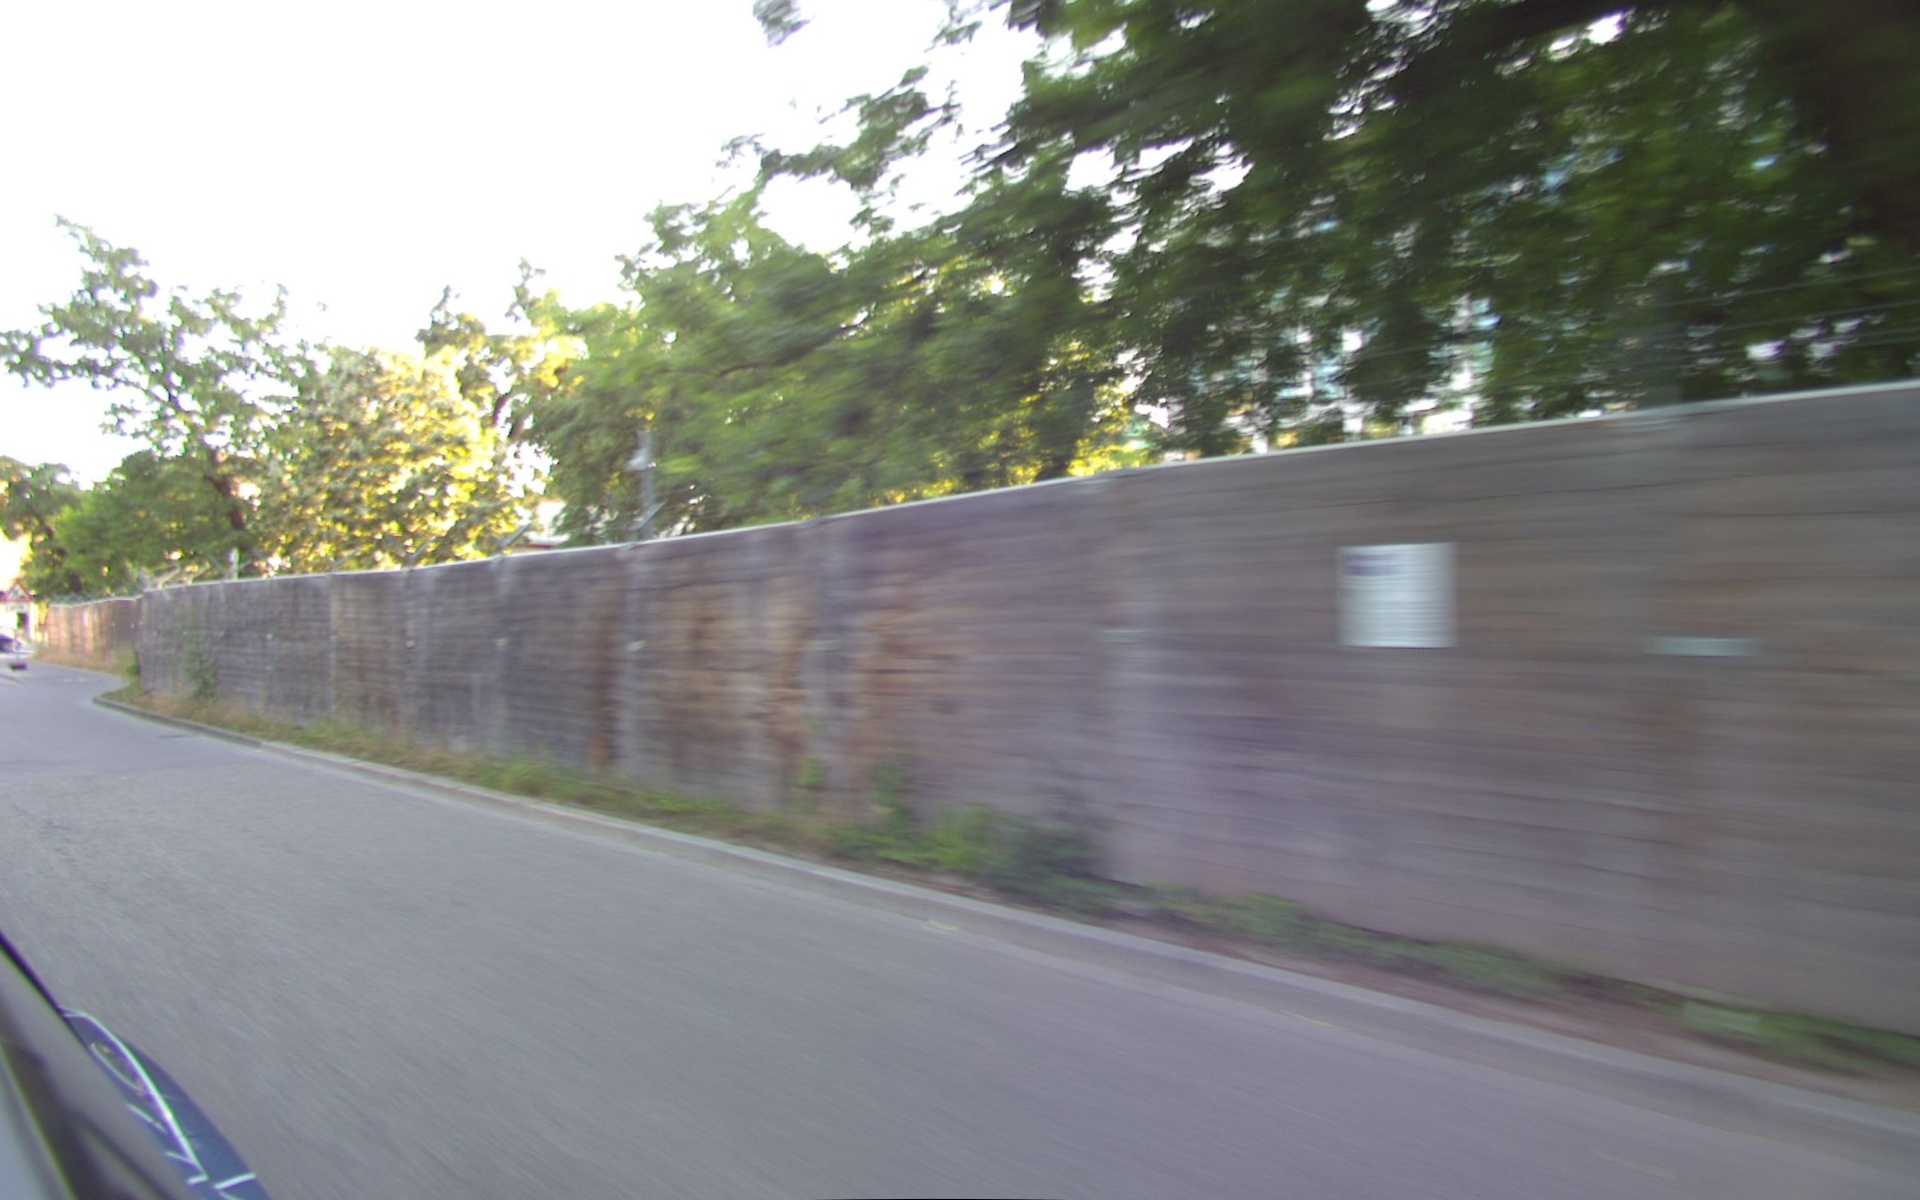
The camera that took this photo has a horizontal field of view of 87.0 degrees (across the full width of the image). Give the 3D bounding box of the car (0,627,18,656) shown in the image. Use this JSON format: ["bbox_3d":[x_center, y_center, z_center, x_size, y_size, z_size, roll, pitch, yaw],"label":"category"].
[{"bbox_3d":[-48.398,2.019,48.860,1.787,1.399,3.883,0,-2,20],"label":"car"}]
